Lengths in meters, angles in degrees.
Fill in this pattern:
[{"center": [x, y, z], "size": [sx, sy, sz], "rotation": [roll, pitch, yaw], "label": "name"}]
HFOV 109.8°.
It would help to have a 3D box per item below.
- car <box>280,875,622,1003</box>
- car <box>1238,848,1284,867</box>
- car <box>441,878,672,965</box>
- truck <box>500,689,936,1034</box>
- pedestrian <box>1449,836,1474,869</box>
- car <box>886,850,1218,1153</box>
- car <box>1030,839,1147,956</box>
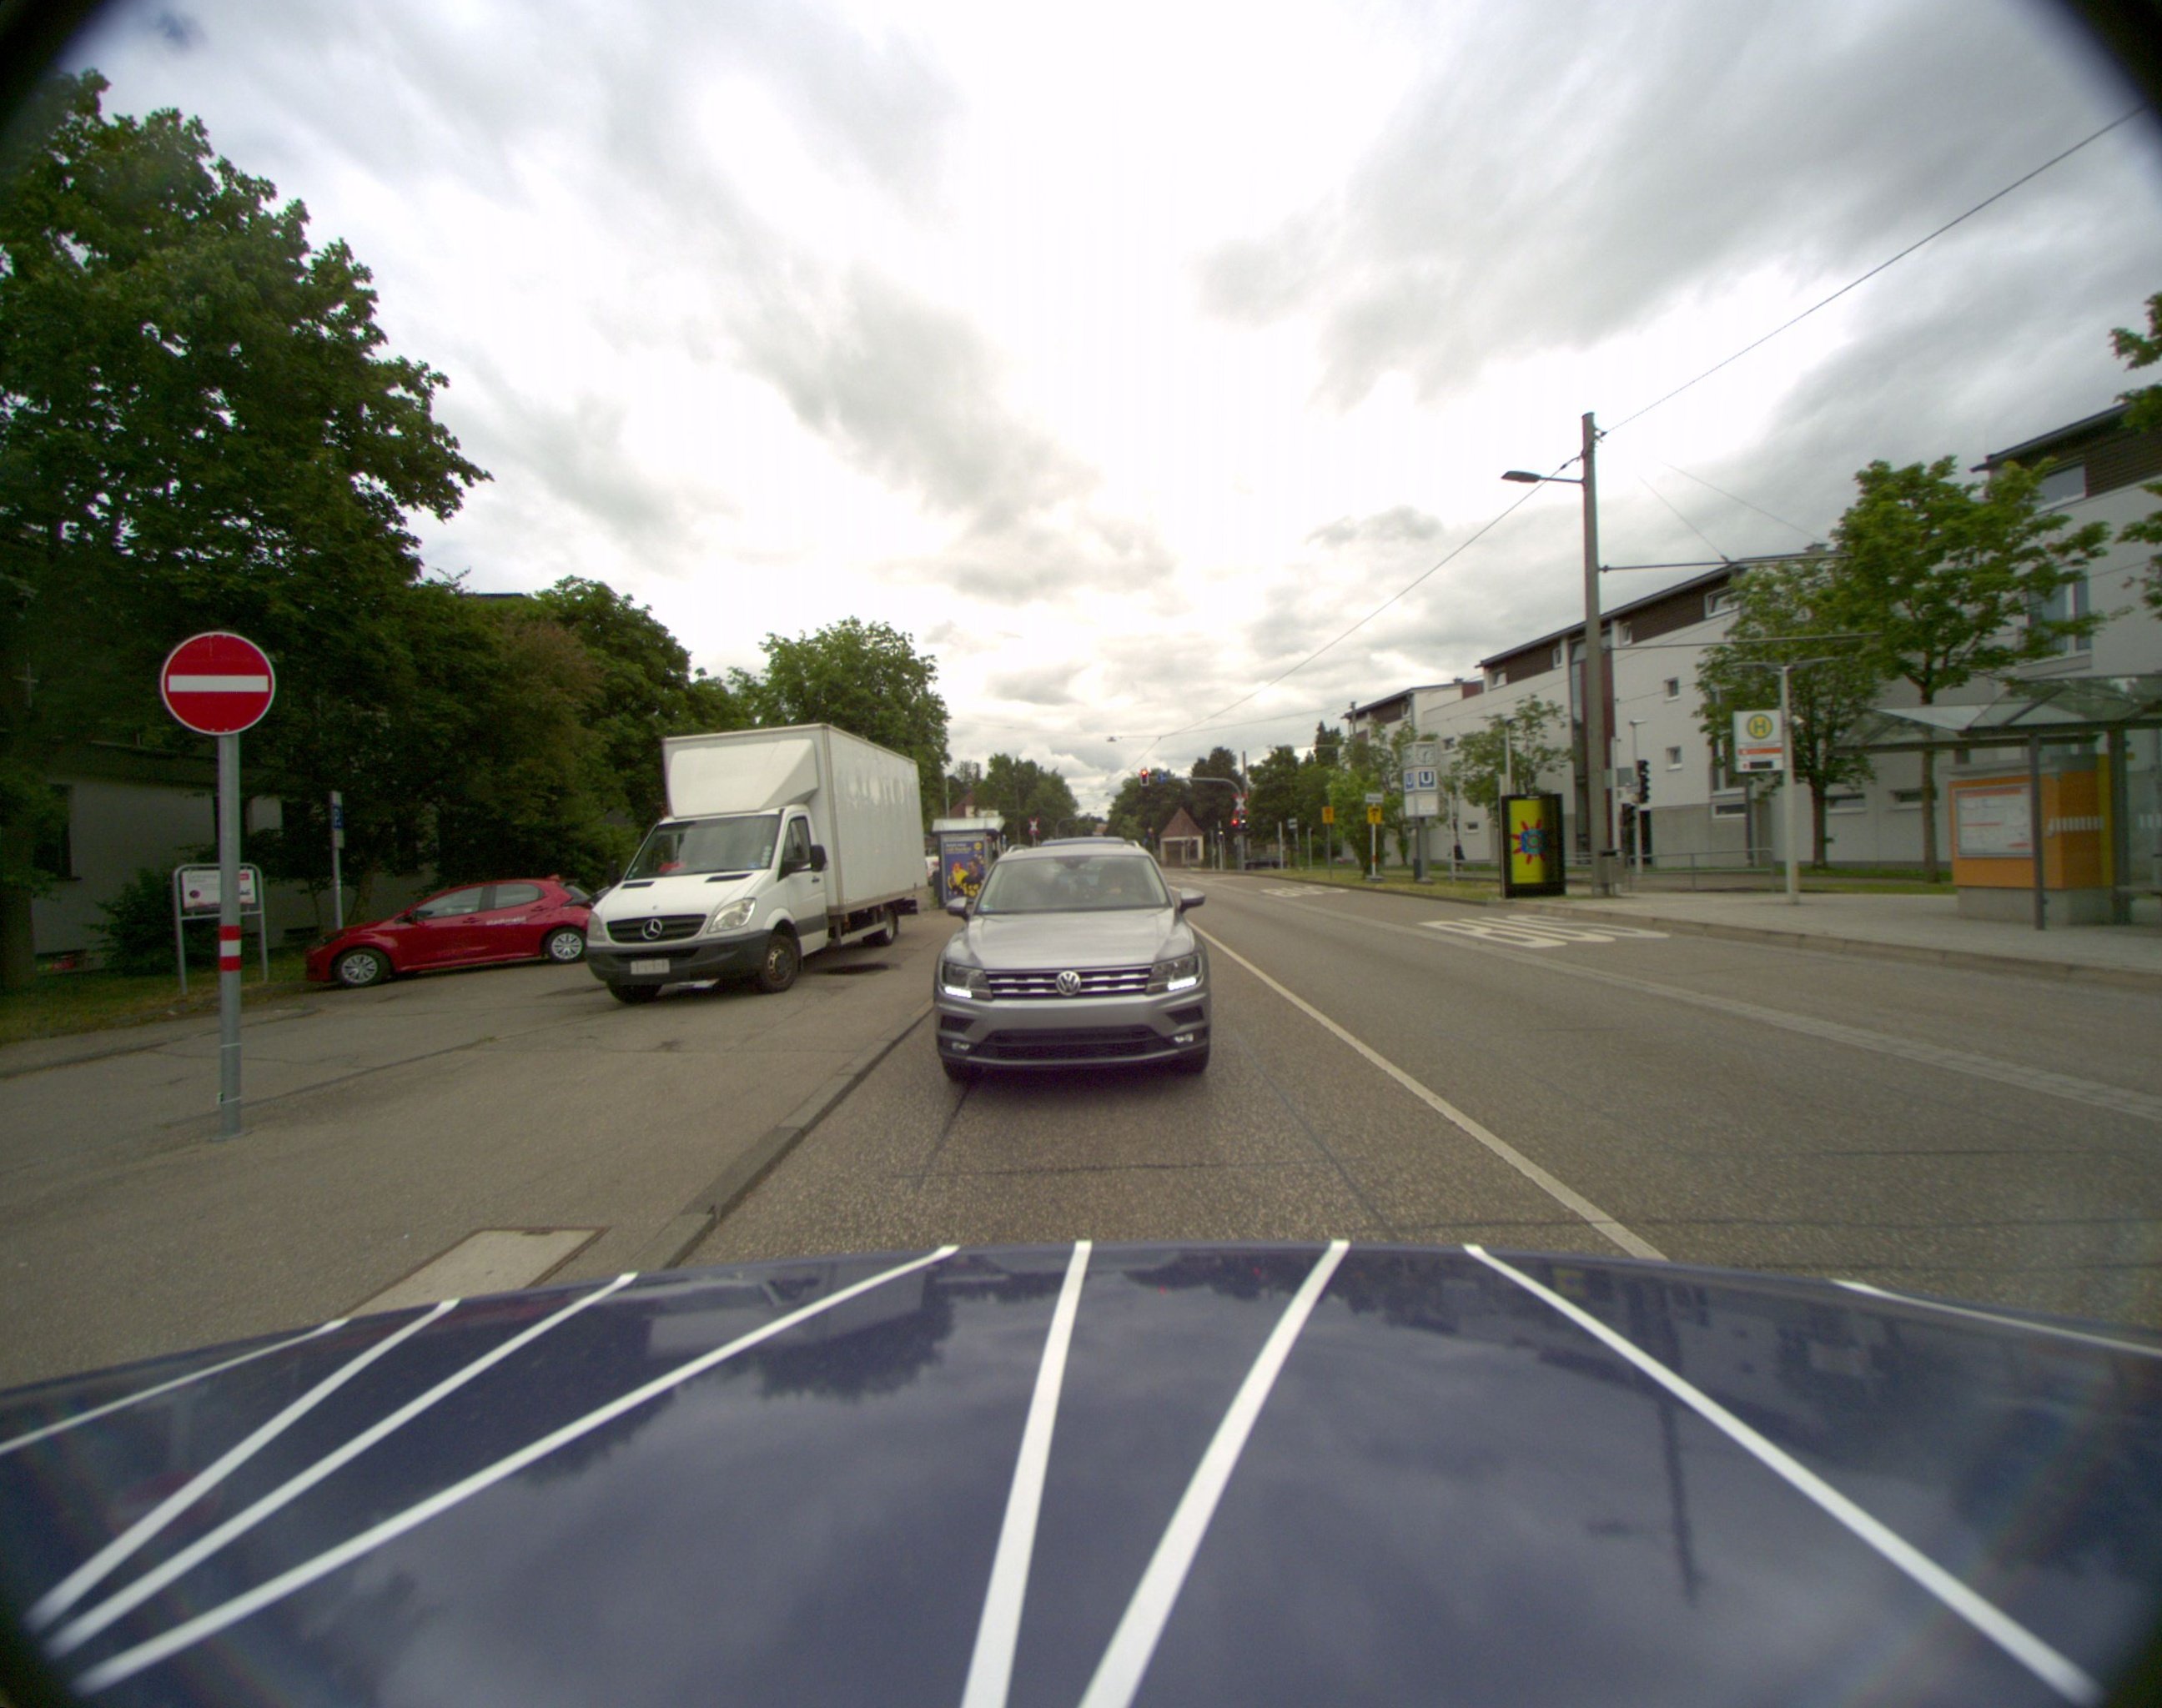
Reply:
[{"center": [-9.994, 1.270, 12.483], "size": [3.902, 1.475, 1.680], "rotation": [-5, 2, -24], "label": "car"}, {"center": [17.706, 0.331, 74.705], "size": [3.998, 1.696, 1.928], "rotation": [-2, 1, -2], "label": "car"}, {"center": [-11.490, 1.413, 16.966], "size": [4.005, 1.402, 1.521], "rotation": [-5, 2, -31], "label": "car"}, {"center": [-4.432, 0.027, 11.603], "size": [2.541, 3.407, 7.775], "rotation": [-2, 1, 2], "label": "truck"}, {"center": [18.842, -0.098, 37.622], "size": [0.782, 1.586, 0.780], "rotation": [-2, 1, -8], "label": "pedestrian"}, {"center": [-0.125, 0.827, 6.460], "size": [1.811, 1.638, 4.330], "rotation": [-2, 0, 1], "label": "car"}, {"center": [0.156, 0.700, 14.443], "size": [1.849, 1.850, 4.000], "rotation": [-2, 0, 1], "label": "car"}]
